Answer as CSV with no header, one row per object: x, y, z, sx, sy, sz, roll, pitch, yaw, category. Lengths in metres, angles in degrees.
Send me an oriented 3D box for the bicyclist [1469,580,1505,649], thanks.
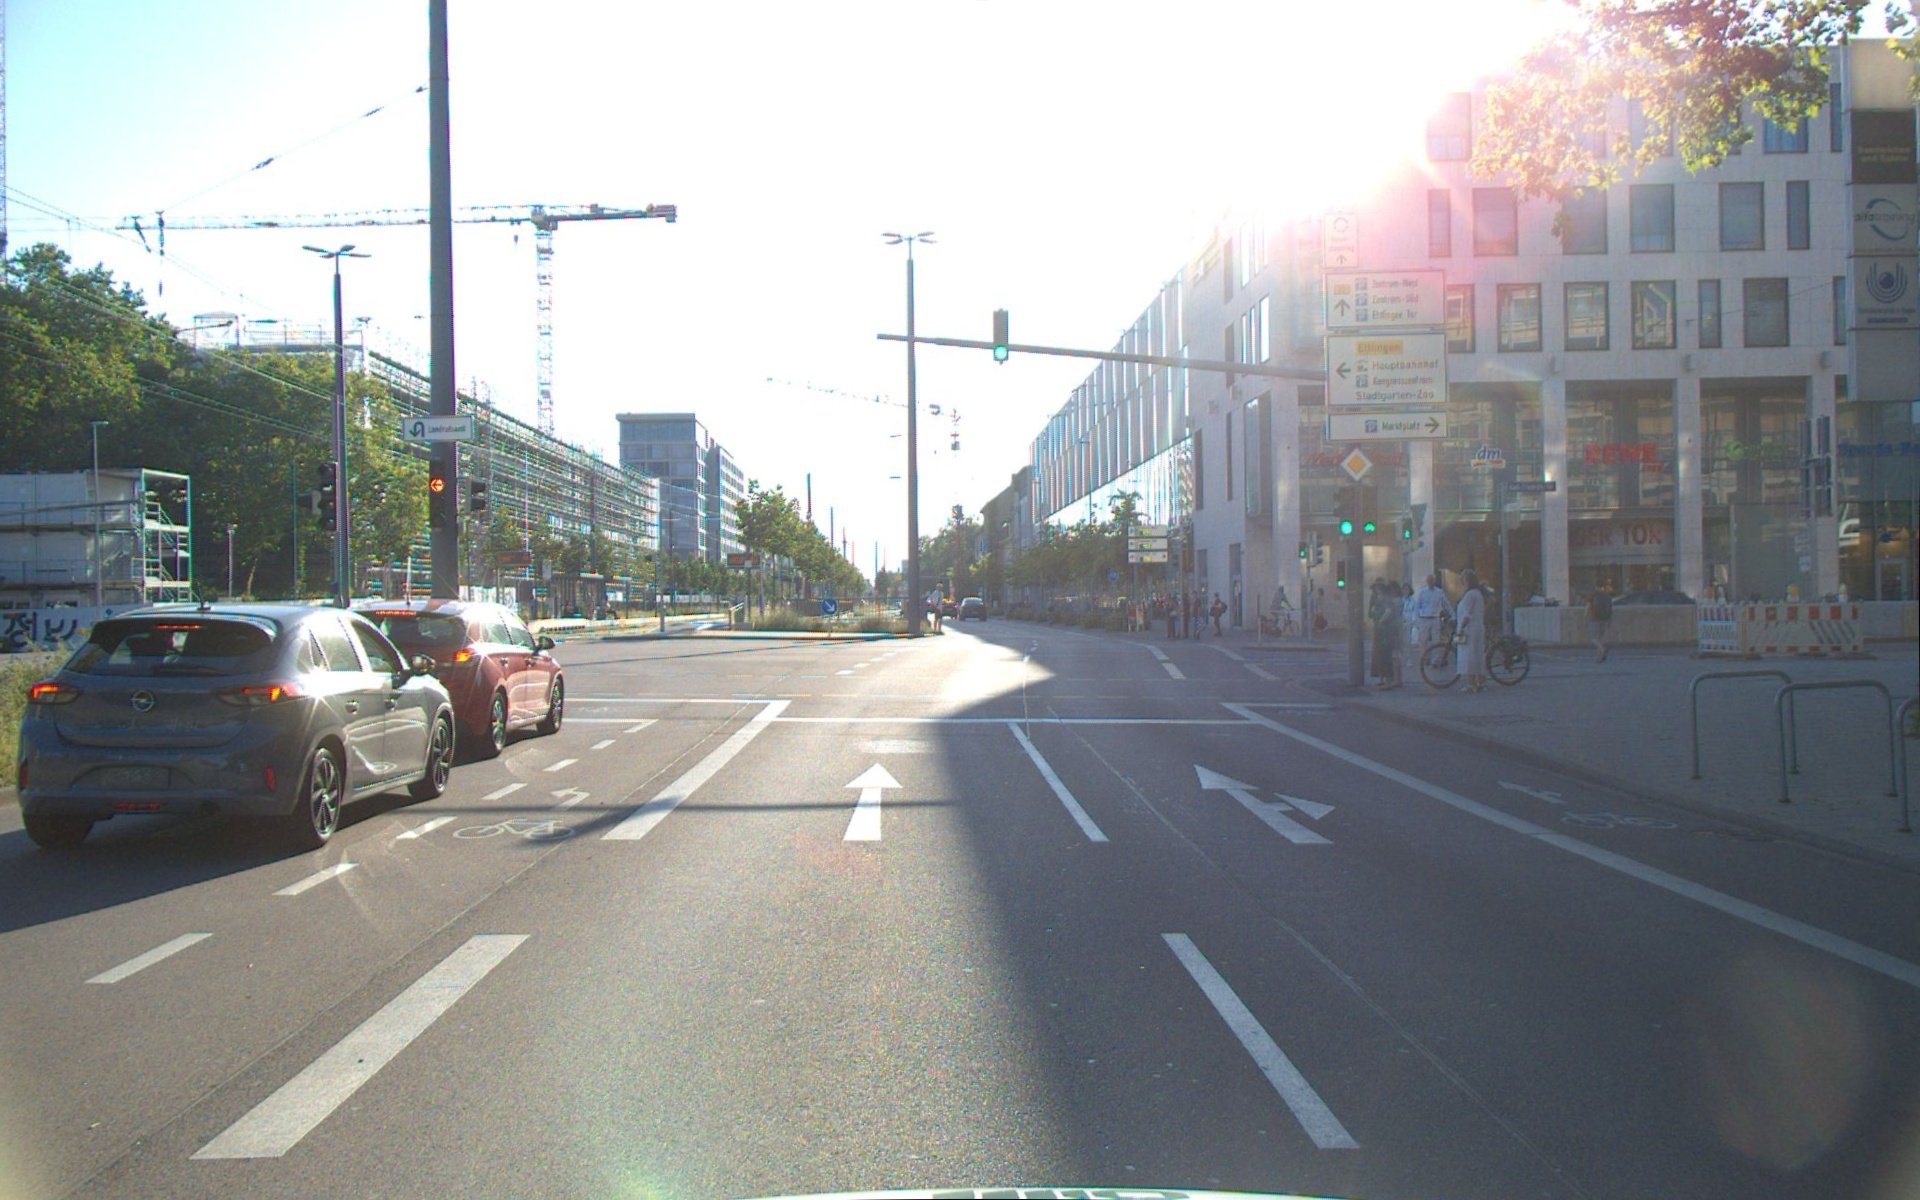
12.014,0.324,37.703,0.566,1.549,0.749,-1,0,-1,bicyclist

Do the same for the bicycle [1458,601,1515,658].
12.020,0.659,37.805,0.580,1.253,2.153,-1,0,-1,bicycle

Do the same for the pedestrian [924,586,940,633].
-1.066,0.376,63.173,0.483,1.774,0.446,-1,0,-12,pedestrian

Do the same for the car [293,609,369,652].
-27.982,1.317,73.724,1.953,1.807,3.998,-1,0,-2,car

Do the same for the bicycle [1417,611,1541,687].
8.160,0.771,26.048,1.767,1.105,0.479,-2,0,-1,bicycle

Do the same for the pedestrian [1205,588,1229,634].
10.022,0.425,64.442,0.800,1.764,0.790,-1,0,1,pedestrian

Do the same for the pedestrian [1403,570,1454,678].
9.359,0.470,33.071,0.750,2.096,0.797,-2,0,4,pedestrian

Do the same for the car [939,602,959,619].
-1.059,0.971,154.083,1.669,1.453,3.922,-1,0,-4,car

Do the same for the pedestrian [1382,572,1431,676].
9.169,0.487,34.012,0.750,2.096,0.797,-2,0,4,pedestrian

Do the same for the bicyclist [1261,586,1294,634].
10.871,0.332,56.623,0.777,1.630,0.791,-1,0,-39,bicyclist

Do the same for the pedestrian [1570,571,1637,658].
13.176,0.294,33.895,0.891,1.733,1.113,-1,0,-1,pedestrian

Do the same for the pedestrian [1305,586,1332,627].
14.472,0.271,66.821,0.852,1.613,0.824,-3,0,1,pedestrian

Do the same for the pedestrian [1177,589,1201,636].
8.781,0.468,63.407,0.800,1.764,0.790,-1,0,1,pedestrian

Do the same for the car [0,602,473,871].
-4.622,0.754,11.111,1.741,1.453,3.997,0,0,-4,car

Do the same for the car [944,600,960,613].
-0.951,0.694,192.657,1.669,1.453,3.922,-1,0,-4,car

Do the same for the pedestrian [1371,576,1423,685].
7.133,0.493,27.039,0.621,1.732,0.569,-2,0,-1,pedestrian

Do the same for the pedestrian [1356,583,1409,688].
6.759,0.566,26.471,0.621,1.636,0.569,-2,0,-1,pedestrian

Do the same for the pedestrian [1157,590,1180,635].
8.164,0.484,64.673,0.800,1.764,0.790,-1,0,1,pedestrian

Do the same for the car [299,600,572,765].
-5.131,0.739,16.706,1.669,1.453,3.923,0,0,-3,car

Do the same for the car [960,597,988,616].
1.057,0.504,128.942,1.902,1.453,3.922,-1,0,-4,car

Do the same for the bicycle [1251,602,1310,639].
10.995,0.680,56.732,2.243,1.225,0.790,-1,0,-41,bicycle

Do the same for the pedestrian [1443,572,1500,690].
7.730,0.459,25.013,0.621,1.732,0.569,-2,0,-1,pedestrian
